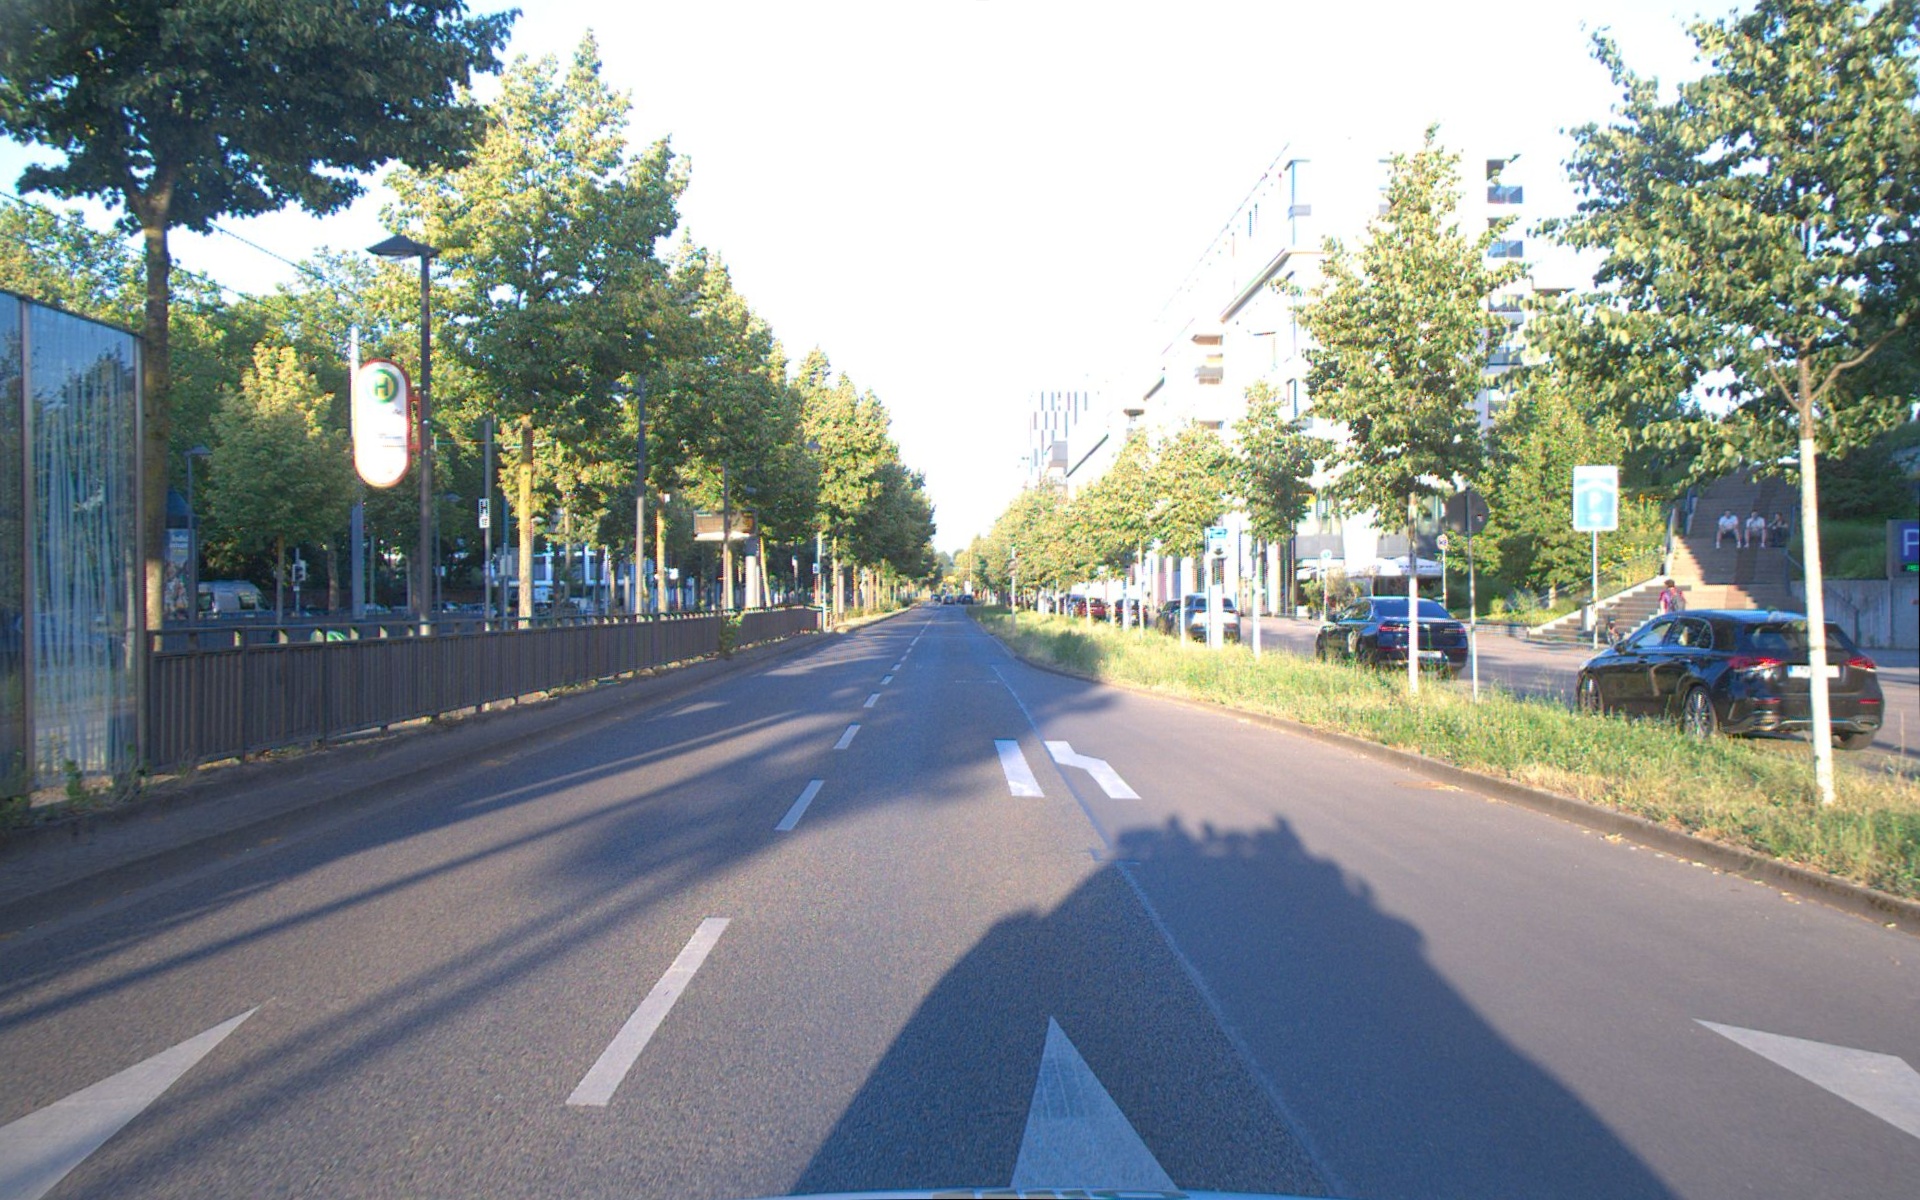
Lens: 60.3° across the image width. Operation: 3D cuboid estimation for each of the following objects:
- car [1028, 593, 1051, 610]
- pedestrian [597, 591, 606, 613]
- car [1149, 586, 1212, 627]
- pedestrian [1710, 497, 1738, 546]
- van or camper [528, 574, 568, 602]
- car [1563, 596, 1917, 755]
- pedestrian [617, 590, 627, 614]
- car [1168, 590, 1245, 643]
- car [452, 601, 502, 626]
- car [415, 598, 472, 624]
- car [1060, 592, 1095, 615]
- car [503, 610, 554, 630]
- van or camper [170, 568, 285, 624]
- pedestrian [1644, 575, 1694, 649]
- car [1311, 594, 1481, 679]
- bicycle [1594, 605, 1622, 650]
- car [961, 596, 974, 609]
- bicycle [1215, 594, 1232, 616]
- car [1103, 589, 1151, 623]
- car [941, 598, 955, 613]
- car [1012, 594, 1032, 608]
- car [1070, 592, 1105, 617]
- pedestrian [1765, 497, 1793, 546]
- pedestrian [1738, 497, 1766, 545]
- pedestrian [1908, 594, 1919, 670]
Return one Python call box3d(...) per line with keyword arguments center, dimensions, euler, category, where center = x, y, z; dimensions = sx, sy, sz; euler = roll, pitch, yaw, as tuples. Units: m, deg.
box3d(center=(7.248, 0.158, 150.847), dimensions=(1.772, 1.527, 4.824), euler=(0, 0, -1), category="car")
box3d(center=(-28.976, 0.183, 133.685), dimensions=(0.680, 1.789, 0.865), euler=(-1, 0, -8), category="pedestrian")
box3d(center=(8.096, 0.225, 61.006), dimensions=(1.714, 1.422, 3.999), euler=(1, 0, -1), category="car")
box3d(center=(22.869, -2.343, 49.527), dimensions=(0.655, 1.405, 0.825), euler=(1, 0, 31), category="pedestrian")
box3d(center=(-46.662, -1.317, 187.294), dimensions=(2.653, 3.139, 6.265), euler=(0, 0, 3), category="van or camper")
box3d(center=(8.472, 0.736, 18.462), dimensions=(1.772, 1.527, 4.478), euler=(0, 0, -1), category="car")
box3d(center=(-27.485, 0.142, 134.459), dimensions=(0.680, 1.903, 0.865), euler=(-1, 0, -8), category="pedestrian")
box3d(center=(8.219, 0.516, 55.464), dimensions=(1.772, 1.660, 4.675), euler=(0, 0, -1), category="car")
box3d(center=(-30.658, 0.837, 105.064), dimensions=(1.861, 1.525, 4.306), euler=(-1, 0, 0), category="car")
box3d(center=(-31.044, 0.663, 99.469), dimensions=(1.952, 1.525, 4.557), euler=(-1, 0, 0), category="car")
box3d(center=(7.764, 0.209, 109.969), dimensions=(1.882, 1.527, 5.009), euler=(0, 0, -1), category="car")
box3d(center=(-29.888, 1.355, 114.685), dimensions=(1.952, 1.338, 5.144), euler=(-1, 0, 3), category="car")
box3d(center=(-32.863, -0.190, 74.436), dimensions=(2.236, 2.406, 5.786), euler=(0, 0, 4), category="van or camper")
box3d(center=(16.554, 0.274, 38.642), dimensions=(0.681, 1.683, 1.078), euler=(0, 0, -1), category="pedestrian")
box3d(center=(8.570, 0.663, 33.037), dimensions=(1.880, 1.527, 5.410), euler=(0, 0, -1), category="car")
box3d(center=(15.964, 0.659, 40.771), dimensions=(0.532, 1.061, 1.913), euler=(-1, 0, 18), category="bicycle")
box3d(center=(1.131, 0.360, 256.598), dimensions=(1.953, 2.049, 3.999), euler=(0, 0, -1), category="car")
box3d(center=(14.937, 0.280, 93.652), dimensions=(0.604, 1.253, 1.670), euler=(-1, 0, -3), category="bicycle")
box3d(center=(7.887, 0.264, 78.441), dimensions=(1.772, 1.527, 4.367), euler=(0, 0, -1), category="car")
box3d(center=(-1.830, 0.808, 245.045), dimensions=(2.045, 2.049, 3.999), euler=(0, 0, -1), category="car")
box3d(center=(7.281, 0.151, 195.025), dimensions=(1.904, 1.576, 4.809), euler=(-1, 0, -2), category="car")
box3d(center=(7.858, 0.281, 102.401), dimensions=(1.772, 1.527, 3.958), euler=(0, 0, -1), category="car")
box3d(center=(24.153, -2.313, 48.783), dimensions=(0.655, 1.405, 0.825), euler=(1, 0, 31), category="pedestrian")
box3d(center=(23.518, -2.337, 49.090), dimensions=(0.655, 1.405, 0.825), euler=(1, 1, 31), category="pedestrian")
box3d(center=(17.203, 0.548, 28.975), dimensions=(0.764, 1.313, 0.685), euler=(-2, 0, 6), category="pedestrian")
